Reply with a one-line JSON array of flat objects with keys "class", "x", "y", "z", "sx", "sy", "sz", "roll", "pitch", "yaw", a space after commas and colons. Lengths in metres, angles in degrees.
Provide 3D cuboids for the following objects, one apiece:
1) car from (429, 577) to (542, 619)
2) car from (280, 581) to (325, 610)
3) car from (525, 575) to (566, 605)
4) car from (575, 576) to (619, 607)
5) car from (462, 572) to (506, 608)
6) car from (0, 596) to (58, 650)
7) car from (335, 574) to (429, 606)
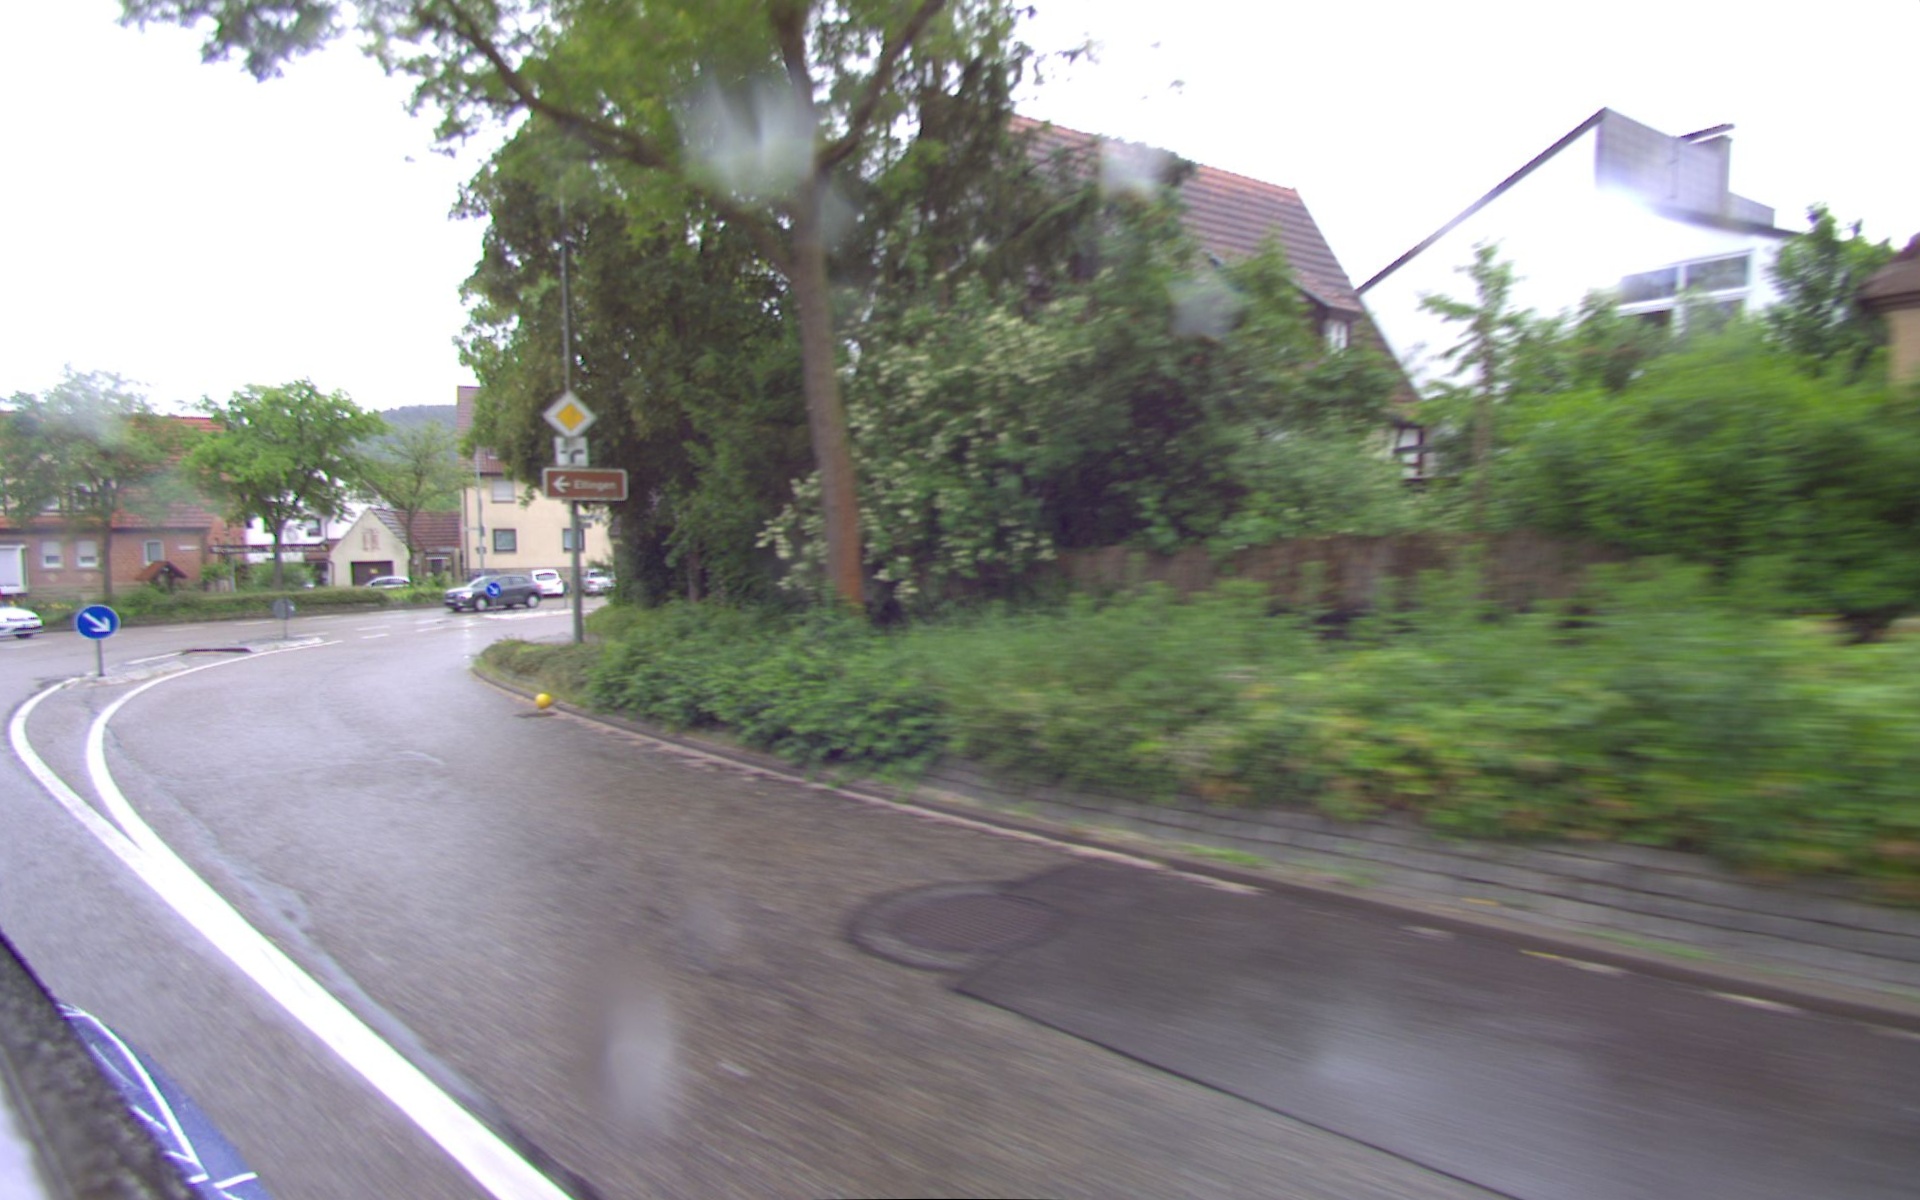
[{"class": "car", "x": -20.524, "y": -0.143, "z": 43.864, "sx": 1.996, "sy": 1.541, "sz": 3.952, "roll": 3, "pitch": 5, "yaw": 36}, {"class": "car", "x": -38.181, "y": -0.281, "z": 58.858, "sx": 1.574, "sy": 1.507, "sz": 4.014, "roll": -3, "pitch": 3, "yaw": -25}, {"class": "car", "x": -23.301, "y": -0.599, "z": 56.849, "sx": 1.689, "sy": 1.540, "sz": 3.443, "roll": -3, "pitch": 3, "yaw": -28}, {"class": "car", "x": -20.682, "y": -0.530, "z": 57.528, "sx": 1.790, "sy": 1.425, "sz": 4.644, "roll": -3, "pitch": 5, "yaw": -26}, {"class": "car", "x": -26.077, "y": -0.610, "z": 55.423, "sx": 1.719, "sy": 1.594, "sz": 4.013, "roll": -5, "pitch": 7, "yaw": -30}, {"class": "car", "x": -31.287, "y": 0.782, "z": 31.778, "sx": 4.084, "sy": 1.547, "sz": 1.761, "roll": -2, "pitch": 3, "yaw": -8}, {"class": "car", "x": -30.973, "y": -0.580, "z": 54.368, "sx": 4.192, "sy": 1.449, "sz": 1.915, "roll": -3, "pitch": 5, "yaw": -24}]
